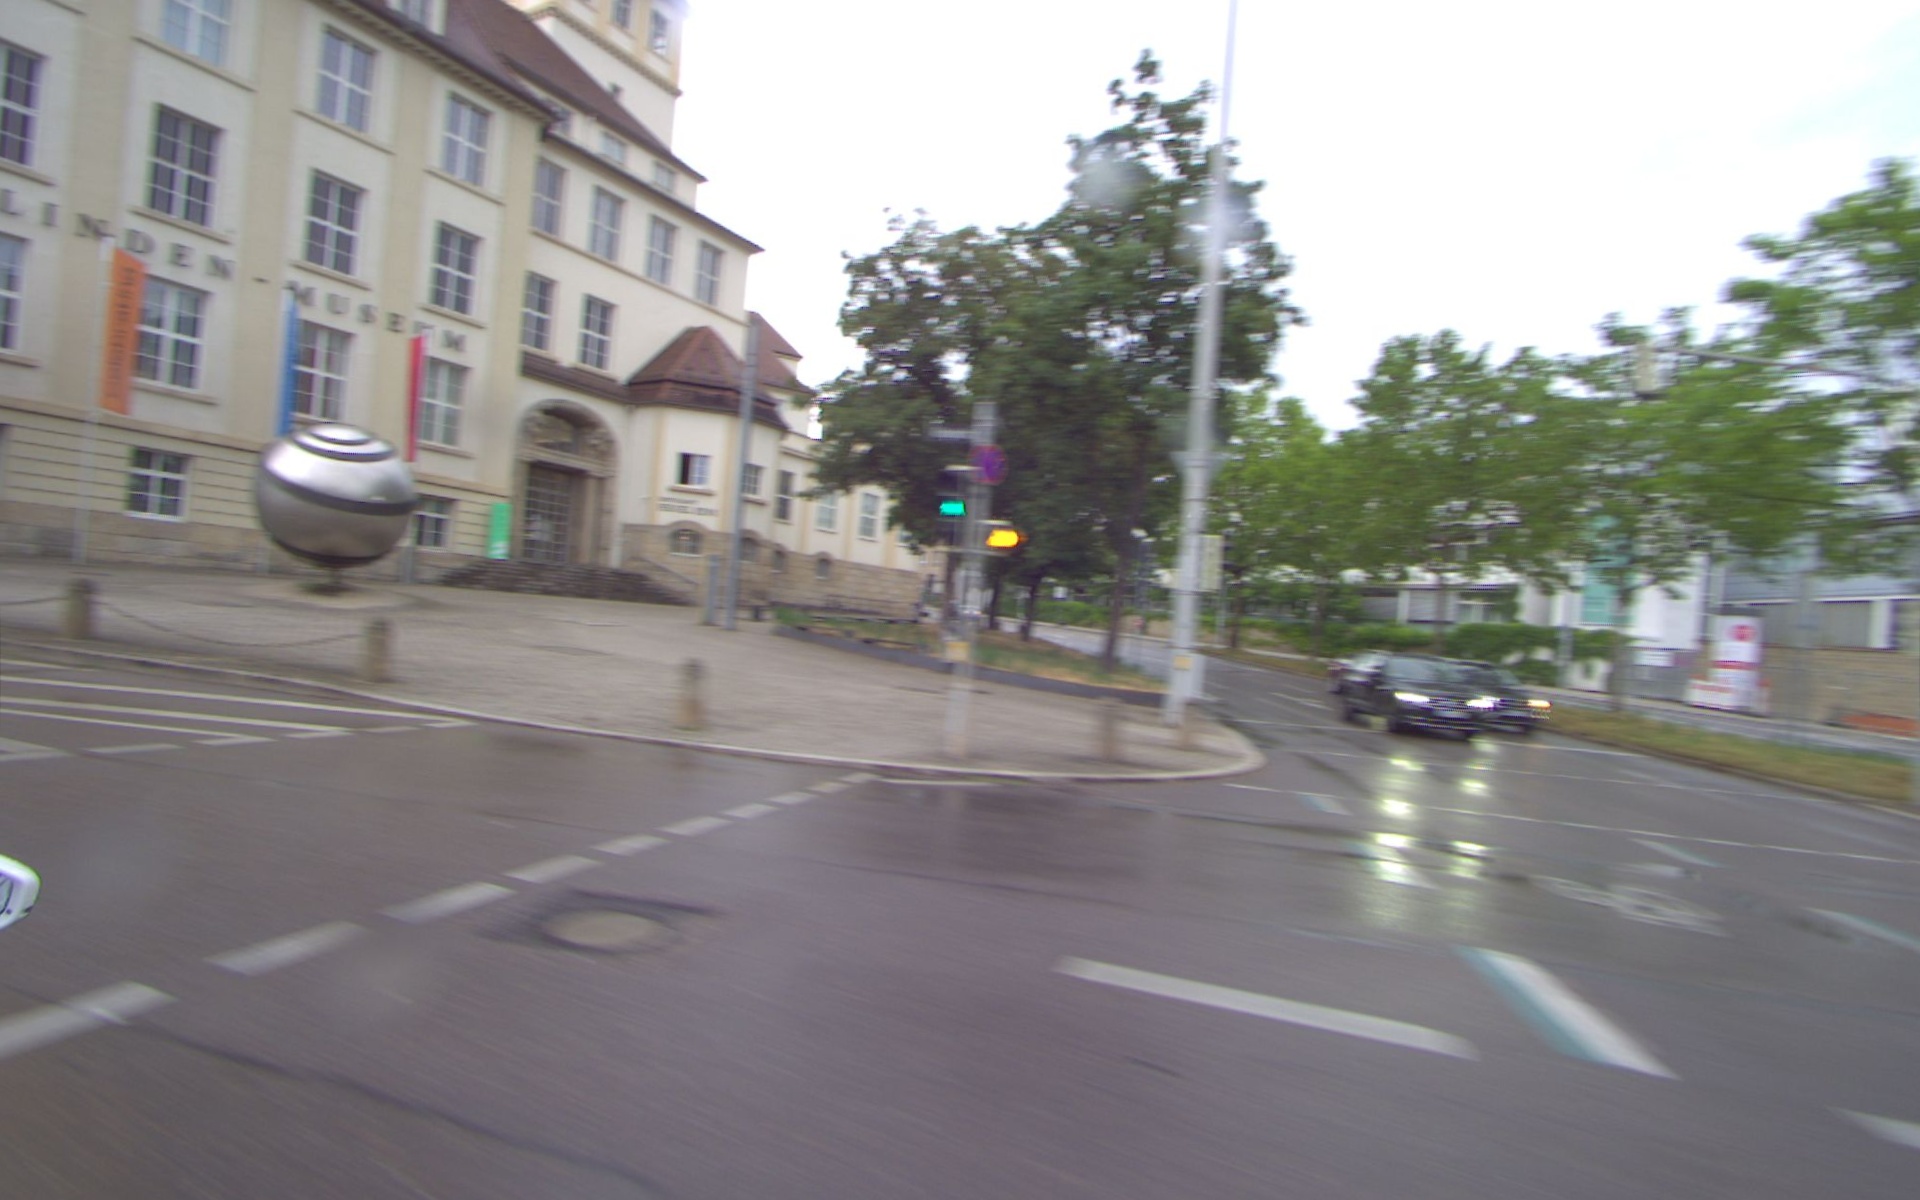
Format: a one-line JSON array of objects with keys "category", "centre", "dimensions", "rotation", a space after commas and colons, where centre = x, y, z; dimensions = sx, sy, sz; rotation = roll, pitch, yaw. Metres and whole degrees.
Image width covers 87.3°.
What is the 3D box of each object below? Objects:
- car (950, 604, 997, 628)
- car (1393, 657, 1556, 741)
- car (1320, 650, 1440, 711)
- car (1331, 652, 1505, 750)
[{"category": "car", "centre": [0.937, 1.148, 72.129], "dimensions": [1.770, 1.459, 3.979], "rotation": [5, -1, -23]}, {"category": "car", "centre": [12.518, 2.362, 24.796], "dimensions": [1.761, 1.604, 4.000], "rotation": [5, -1, -2]}, {"category": "car", "centre": [12.658, 2.390, 30.597], "dimensions": [1.761, 1.459, 4.000], "rotation": [5, -1, -2]}, {"category": "car", "centre": [9.668, 2.062, 21.646], "dimensions": [1.838, 1.584, 4.277], "rotation": [4, 0, 3]}]
